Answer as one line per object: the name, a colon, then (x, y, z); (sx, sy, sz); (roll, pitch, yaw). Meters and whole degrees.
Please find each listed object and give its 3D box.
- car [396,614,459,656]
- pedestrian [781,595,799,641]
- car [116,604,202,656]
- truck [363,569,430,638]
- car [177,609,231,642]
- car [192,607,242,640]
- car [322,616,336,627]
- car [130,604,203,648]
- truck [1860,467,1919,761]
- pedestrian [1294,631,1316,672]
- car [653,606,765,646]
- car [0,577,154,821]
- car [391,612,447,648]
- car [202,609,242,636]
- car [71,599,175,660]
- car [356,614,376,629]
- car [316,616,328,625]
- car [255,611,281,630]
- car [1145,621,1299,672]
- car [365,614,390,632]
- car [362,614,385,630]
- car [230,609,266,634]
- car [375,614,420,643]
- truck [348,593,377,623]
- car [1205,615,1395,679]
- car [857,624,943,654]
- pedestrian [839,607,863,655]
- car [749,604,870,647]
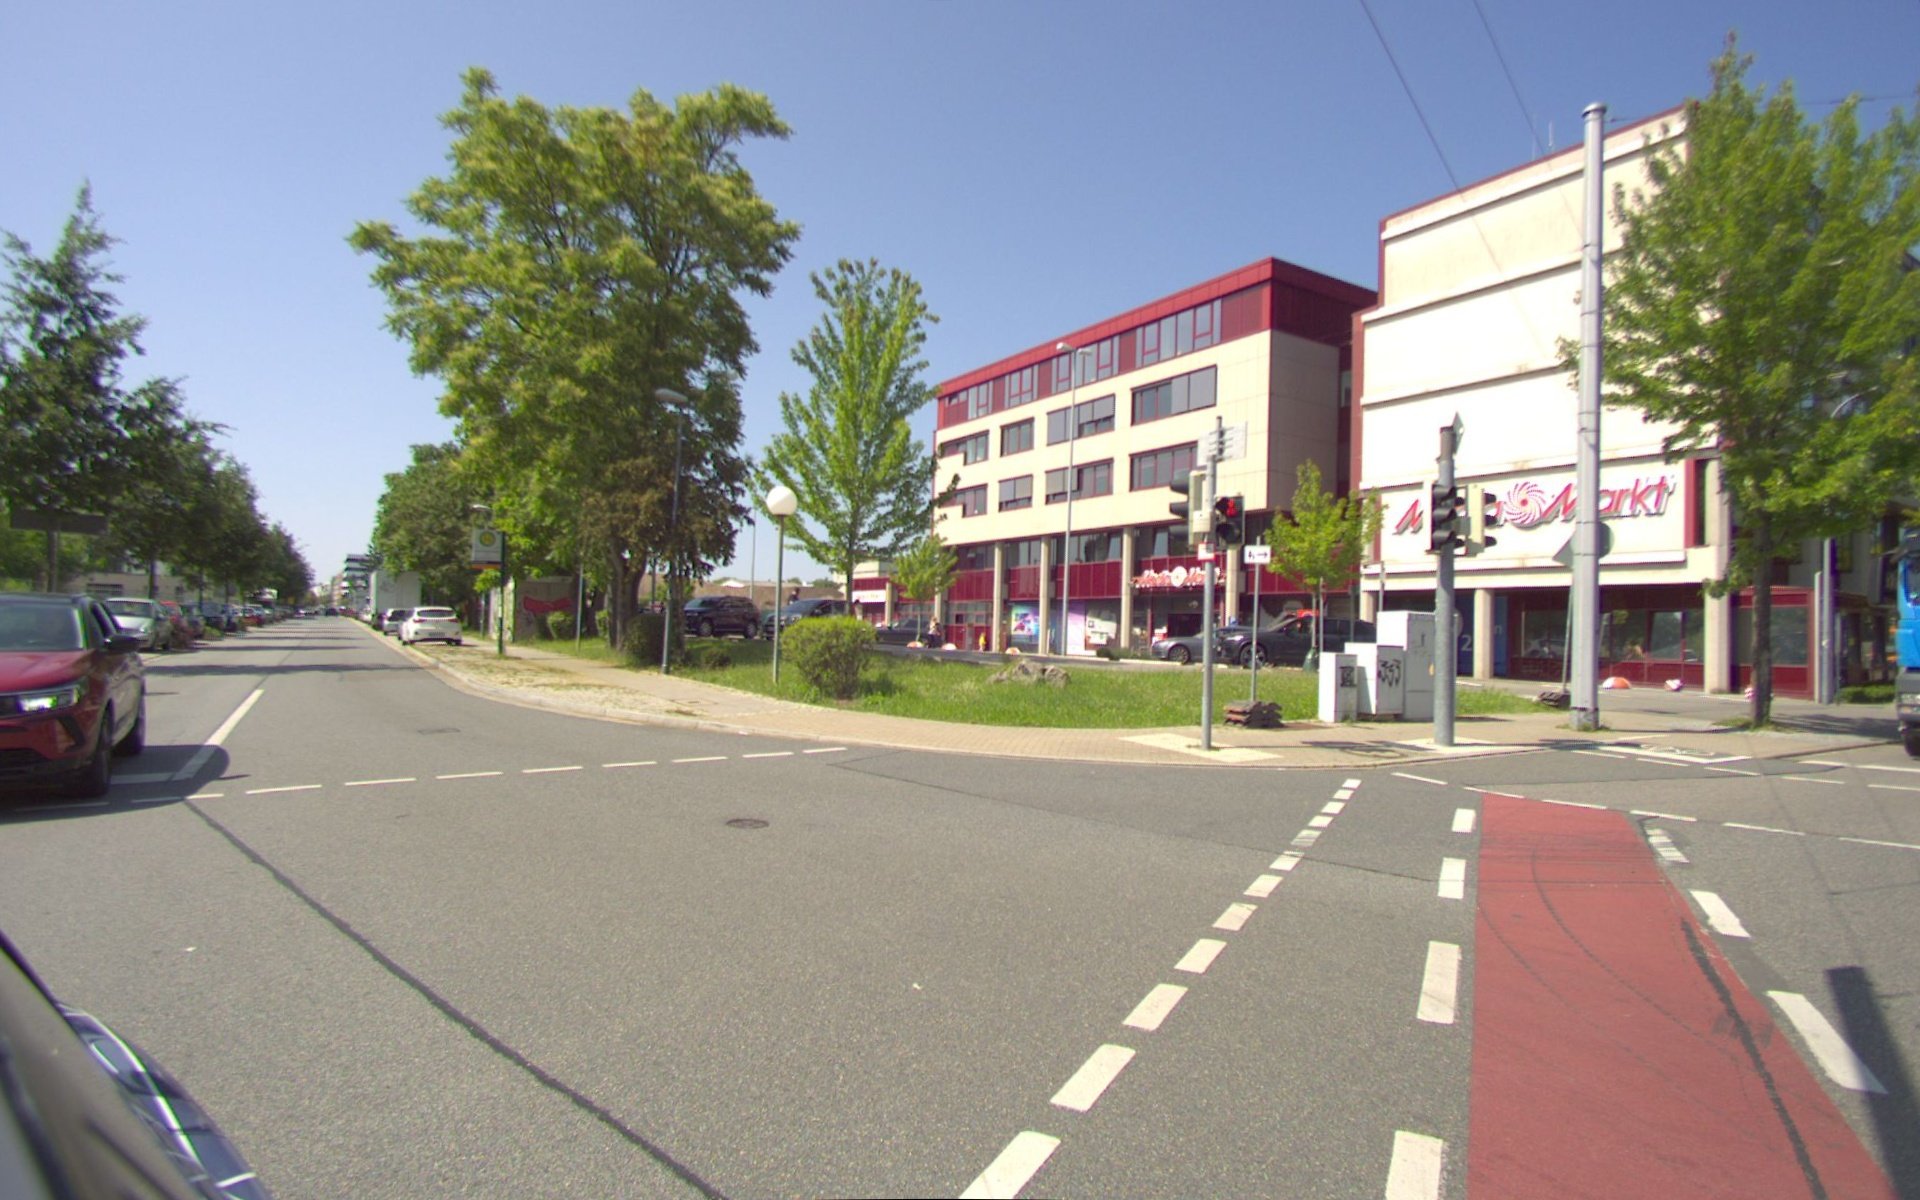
car: (-20.294, 1.278, 38.498); (1.737, 1.504, 4.011); (1, -1, -33)
pedestrian: (-5.872, 0.619, 34.858); (0.555, 1.539, 0.758); (1, -2, -11)
car: (-27.707, 1.040, 35.114); (1.817, 1.628, 4.011); (5, -4, -32)
truck: (-36.870, 0.335, 66.034); (3.299, 4.175, 9.304); (1, -1, -32)
car: (-37.141, 1.240, 49.796); (1.838, 1.554, 4.011); (2, -2, -33)
car: (-40.457, 1.302, 55.206); (1.817, 1.628, 4.011); (5, -4, -32)
car: (-99.607, 3.385, 159.880); (1.761, 1.807, 4.012); (2, -2, -31)
car: (-32.186, 1.056, 41.153); (1.817, 1.628, 4.011); (5, -4, -32)
truck: (14.370, 0.219, 13.182); (4.955, 3.636, 2.760); (2, -3, -34)
pedestrian: (11.620, 1.723, 34.120); (0.455, 1.366, 0.523); (2, -2, -23)
car: (-9.977, 1.003, 40.625); (1.842, 1.504, 4.776); (0, -1, 24)
car: (-7.943, 0.691, 8.270); (1.792, 1.616, 4.318); (1, -2, -35)
car: (-24.038, 1.322, 44.912); (1.785, 1.527, 4.011); (1, -1, -33)
car: (-47.128, 1.457, 64.715); (1.817, 1.628, 4.011); (-1, -1, -32)
car: (-25.698, 0.915, 31.219); (1.817, 1.628, 4.382); (6, -4, -32)
car: (-62.712, 2.278, 106.773); (1.785, 1.527, 4.012); (1, -1, -31)
car: (-127.330, 4.040, 202.000); (1.736, 1.807, 4.012); (2, -2, -30)
car: (-65.511, 1.971, 95.805); (1.817, 1.628, 4.011); (4, -3, -32)
car: (8.683, 1.547, 33.939); (4.816, 1.504, 1.912); (2, -2, 10)
car: (-50.004, 1.944, 86.817); (1.785, 1.527, 4.012); (1, -1, -31)
car: (-55.792, 2.094, 96.268); (1.785, 1.527, 4.012); (1, -1, -31)
car: (-51.188, 1.567, 72.816); (1.817, 1.628, 4.011); (4, -3, -32)
car: (-30.481, 1.515, 54.794); (1.785, 1.527, 4.011); (1, -1, -33)
truck: (-70.919, 0.973, 120.158); (2.657, 3.345, 7.365); (2, -2, -29)
car: (10.284, 1.454, 30.933); (5.051, 1.606, 2.184); (3, -4, 5)
car: (-3.125, 2.038, 53.027); (4.194, 1.462, 1.717); (1, -2, 11)
pedestrian: (-3.566, 0.998, 32.987); (0.555, 1.539, 0.759); (2, -2, -24)
car: (-4.929, 0.818, 33.614); (1.715, 1.348, 3.941); (-1, -1, 36)
